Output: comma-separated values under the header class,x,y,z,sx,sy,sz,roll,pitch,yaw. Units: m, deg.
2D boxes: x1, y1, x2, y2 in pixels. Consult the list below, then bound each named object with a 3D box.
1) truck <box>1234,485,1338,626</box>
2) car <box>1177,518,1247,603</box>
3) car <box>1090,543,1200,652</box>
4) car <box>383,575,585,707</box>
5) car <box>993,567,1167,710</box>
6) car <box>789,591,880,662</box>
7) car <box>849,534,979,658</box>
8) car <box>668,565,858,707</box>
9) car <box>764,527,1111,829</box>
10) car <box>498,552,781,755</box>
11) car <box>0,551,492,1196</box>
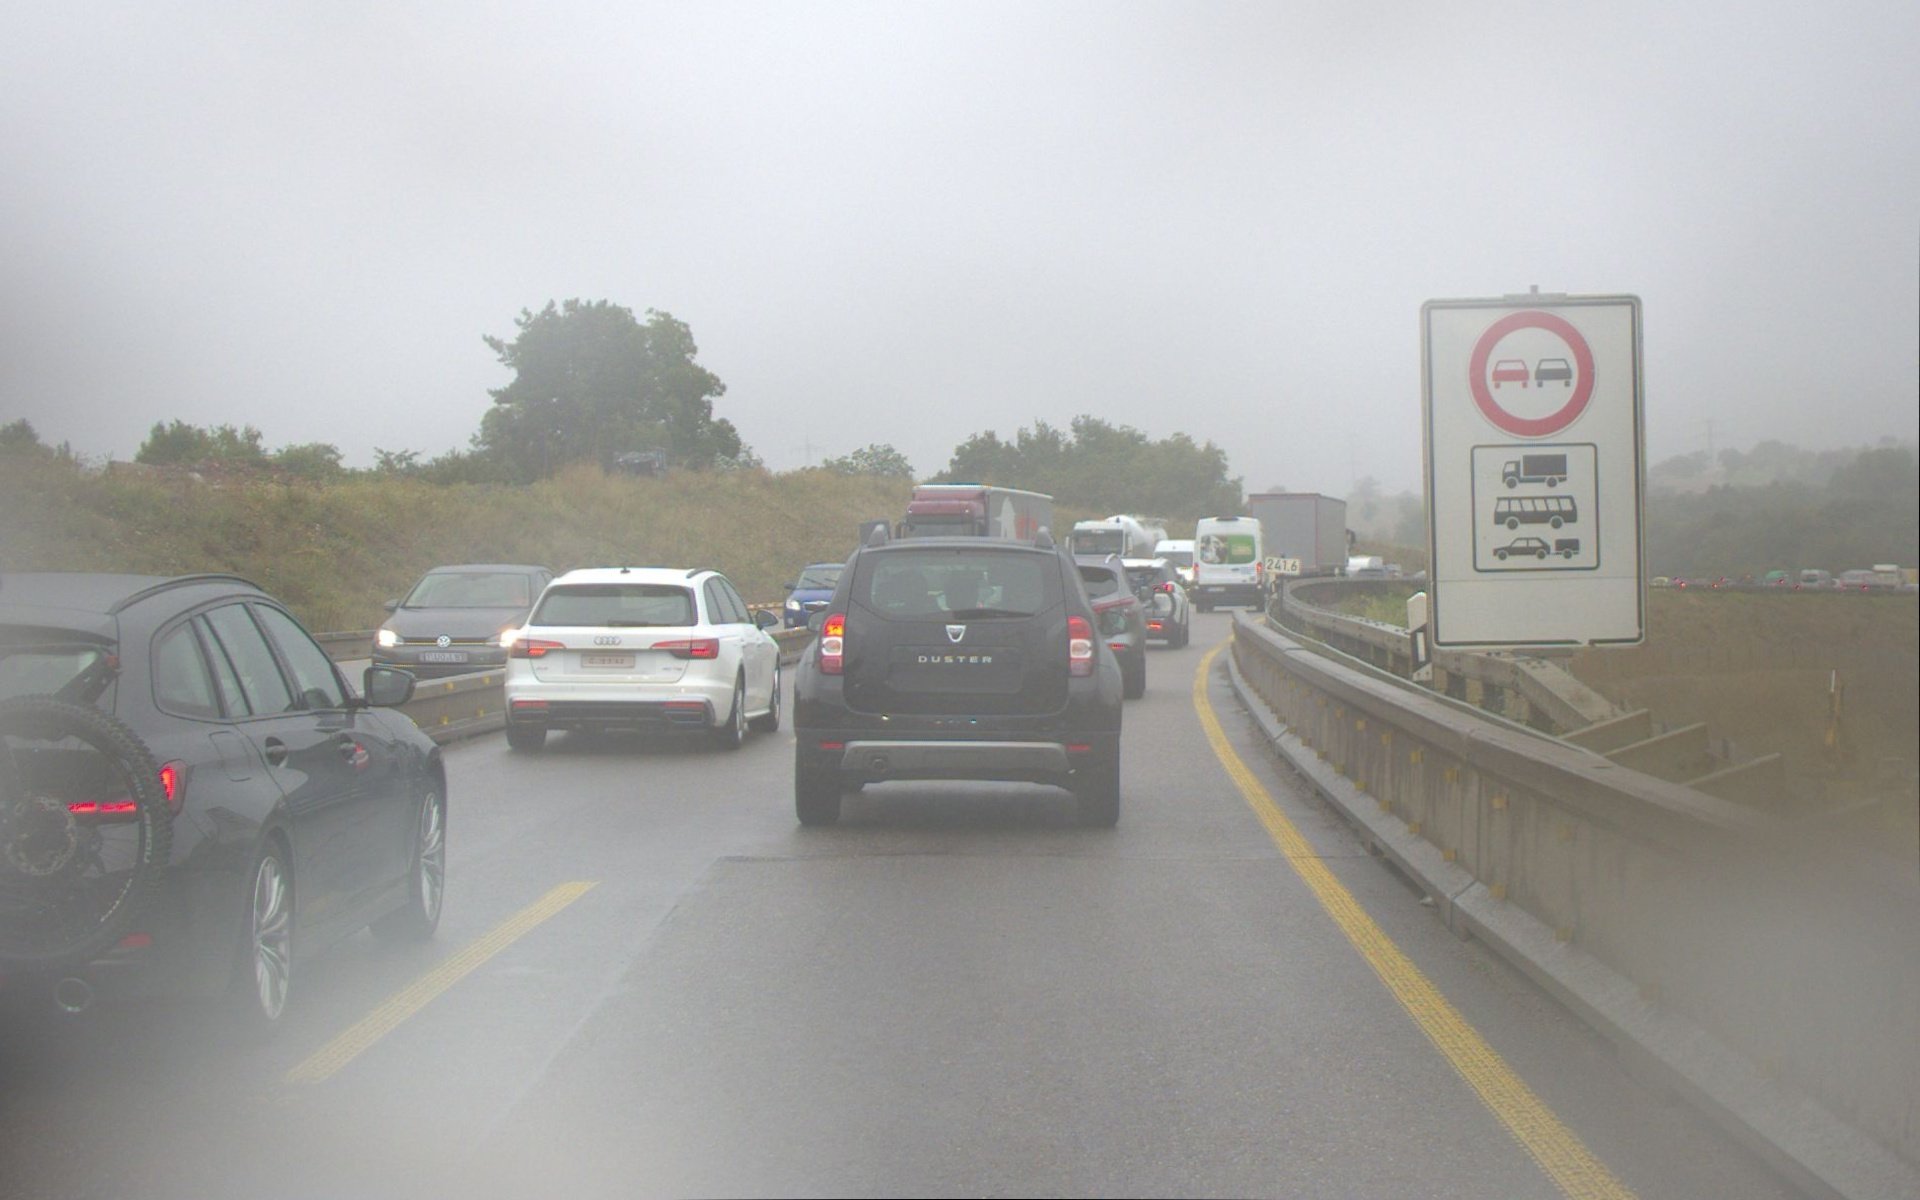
class,x,y,z,sx,sy,sz,roll,pitch,yaw
truck,12.305,-1.627,128.926,3.544,5.060,10.438,0,0,7
car,7.455,-1.147,101.478,1.827,2.429,4.157,0,0,7
car,3.182,-0.044,59.448,1.826,1.809,4.000,0,0,3
car,-5.309,0.422,38.761,1.580,1.378,4.000,0,1,2
car,1.300,0.401,38.265,1.826,1.494,4.000,0,0,1
car,-2.563,0.532,70.989,1.580,1.378,4.000,0,1,2
car,-0.662,-0.059,52.441,1.826,1.809,4.000,0,0,1
car,-2.144,0.374,38.423,1.826,1.494,4.000,0,0,1
car,-0.085,0.410,20.223,1.826,1.585,4.000,0,0,1
car,-2.481,0.395,27.523,1.826,1.494,4.000,0,0,1
car,-2.860,0.644,11.386,1.735,1.457,5.630,0,2,1
